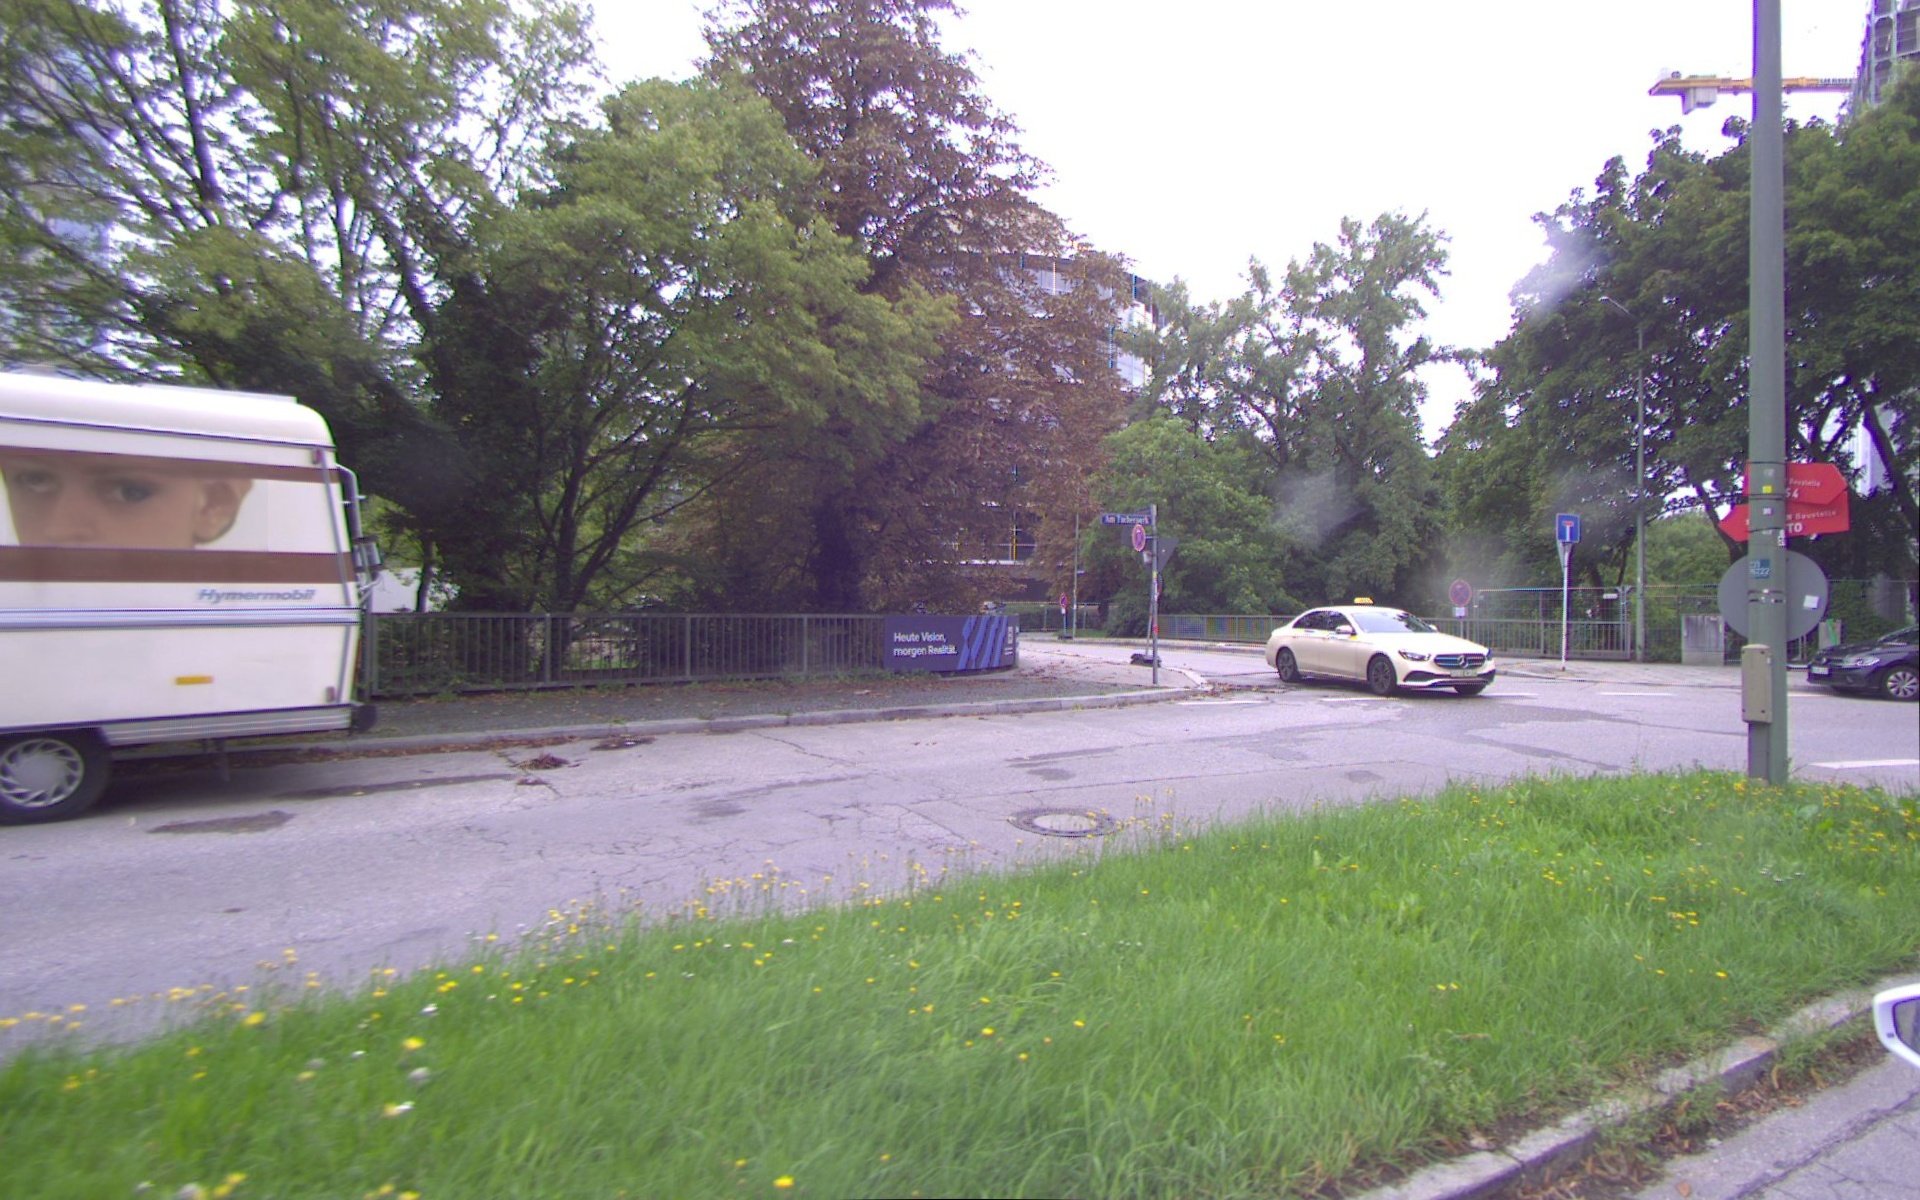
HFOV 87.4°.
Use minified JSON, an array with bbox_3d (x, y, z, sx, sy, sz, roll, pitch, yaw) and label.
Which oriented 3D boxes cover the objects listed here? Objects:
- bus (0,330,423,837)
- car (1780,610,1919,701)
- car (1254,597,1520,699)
[{"bbox_3d":[-6.509,-0.099,5.749,5.691,2.735,2.294,1,-1,-42],"label":"bus"},{"bbox_3d":[17.205,0.949,17.533,3.960,1.452,2.001,1,1,13],"label":"car"},{"bbox_3d":[7.404,0.759,18.071,1.862,1.566,4.840,1,0,-14],"label":"car"}]
